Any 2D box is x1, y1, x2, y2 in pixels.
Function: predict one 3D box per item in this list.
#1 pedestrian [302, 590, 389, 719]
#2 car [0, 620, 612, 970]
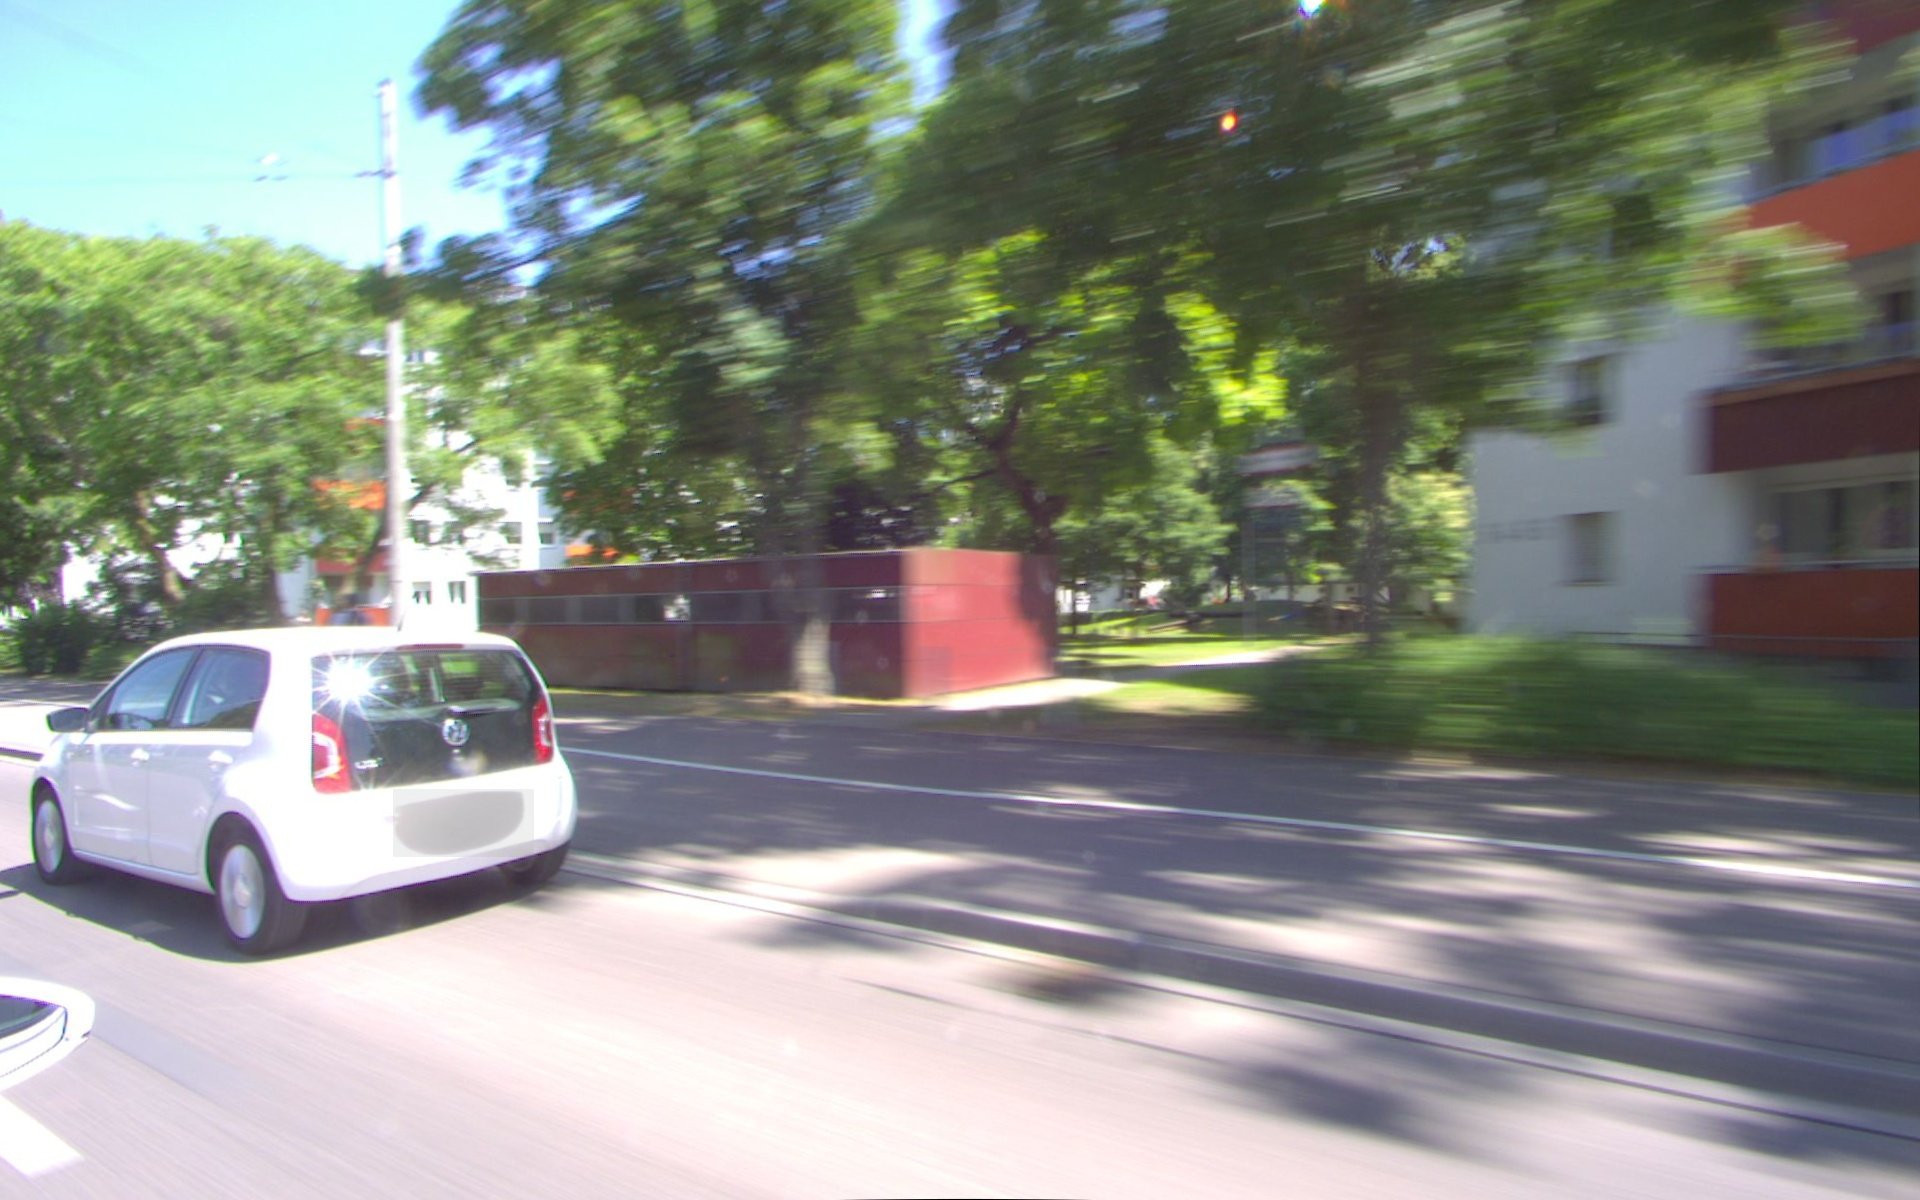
[{"bbox_3d":[-8.245,0.720,13.443,0.844,1.665,0.667,-1,0,31],"label":"pedestrian"},{"bbox_3d":[-4.000,0.879,5.930,3.799,1.468,1.656,-1,-1,32],"label":"car"}]
